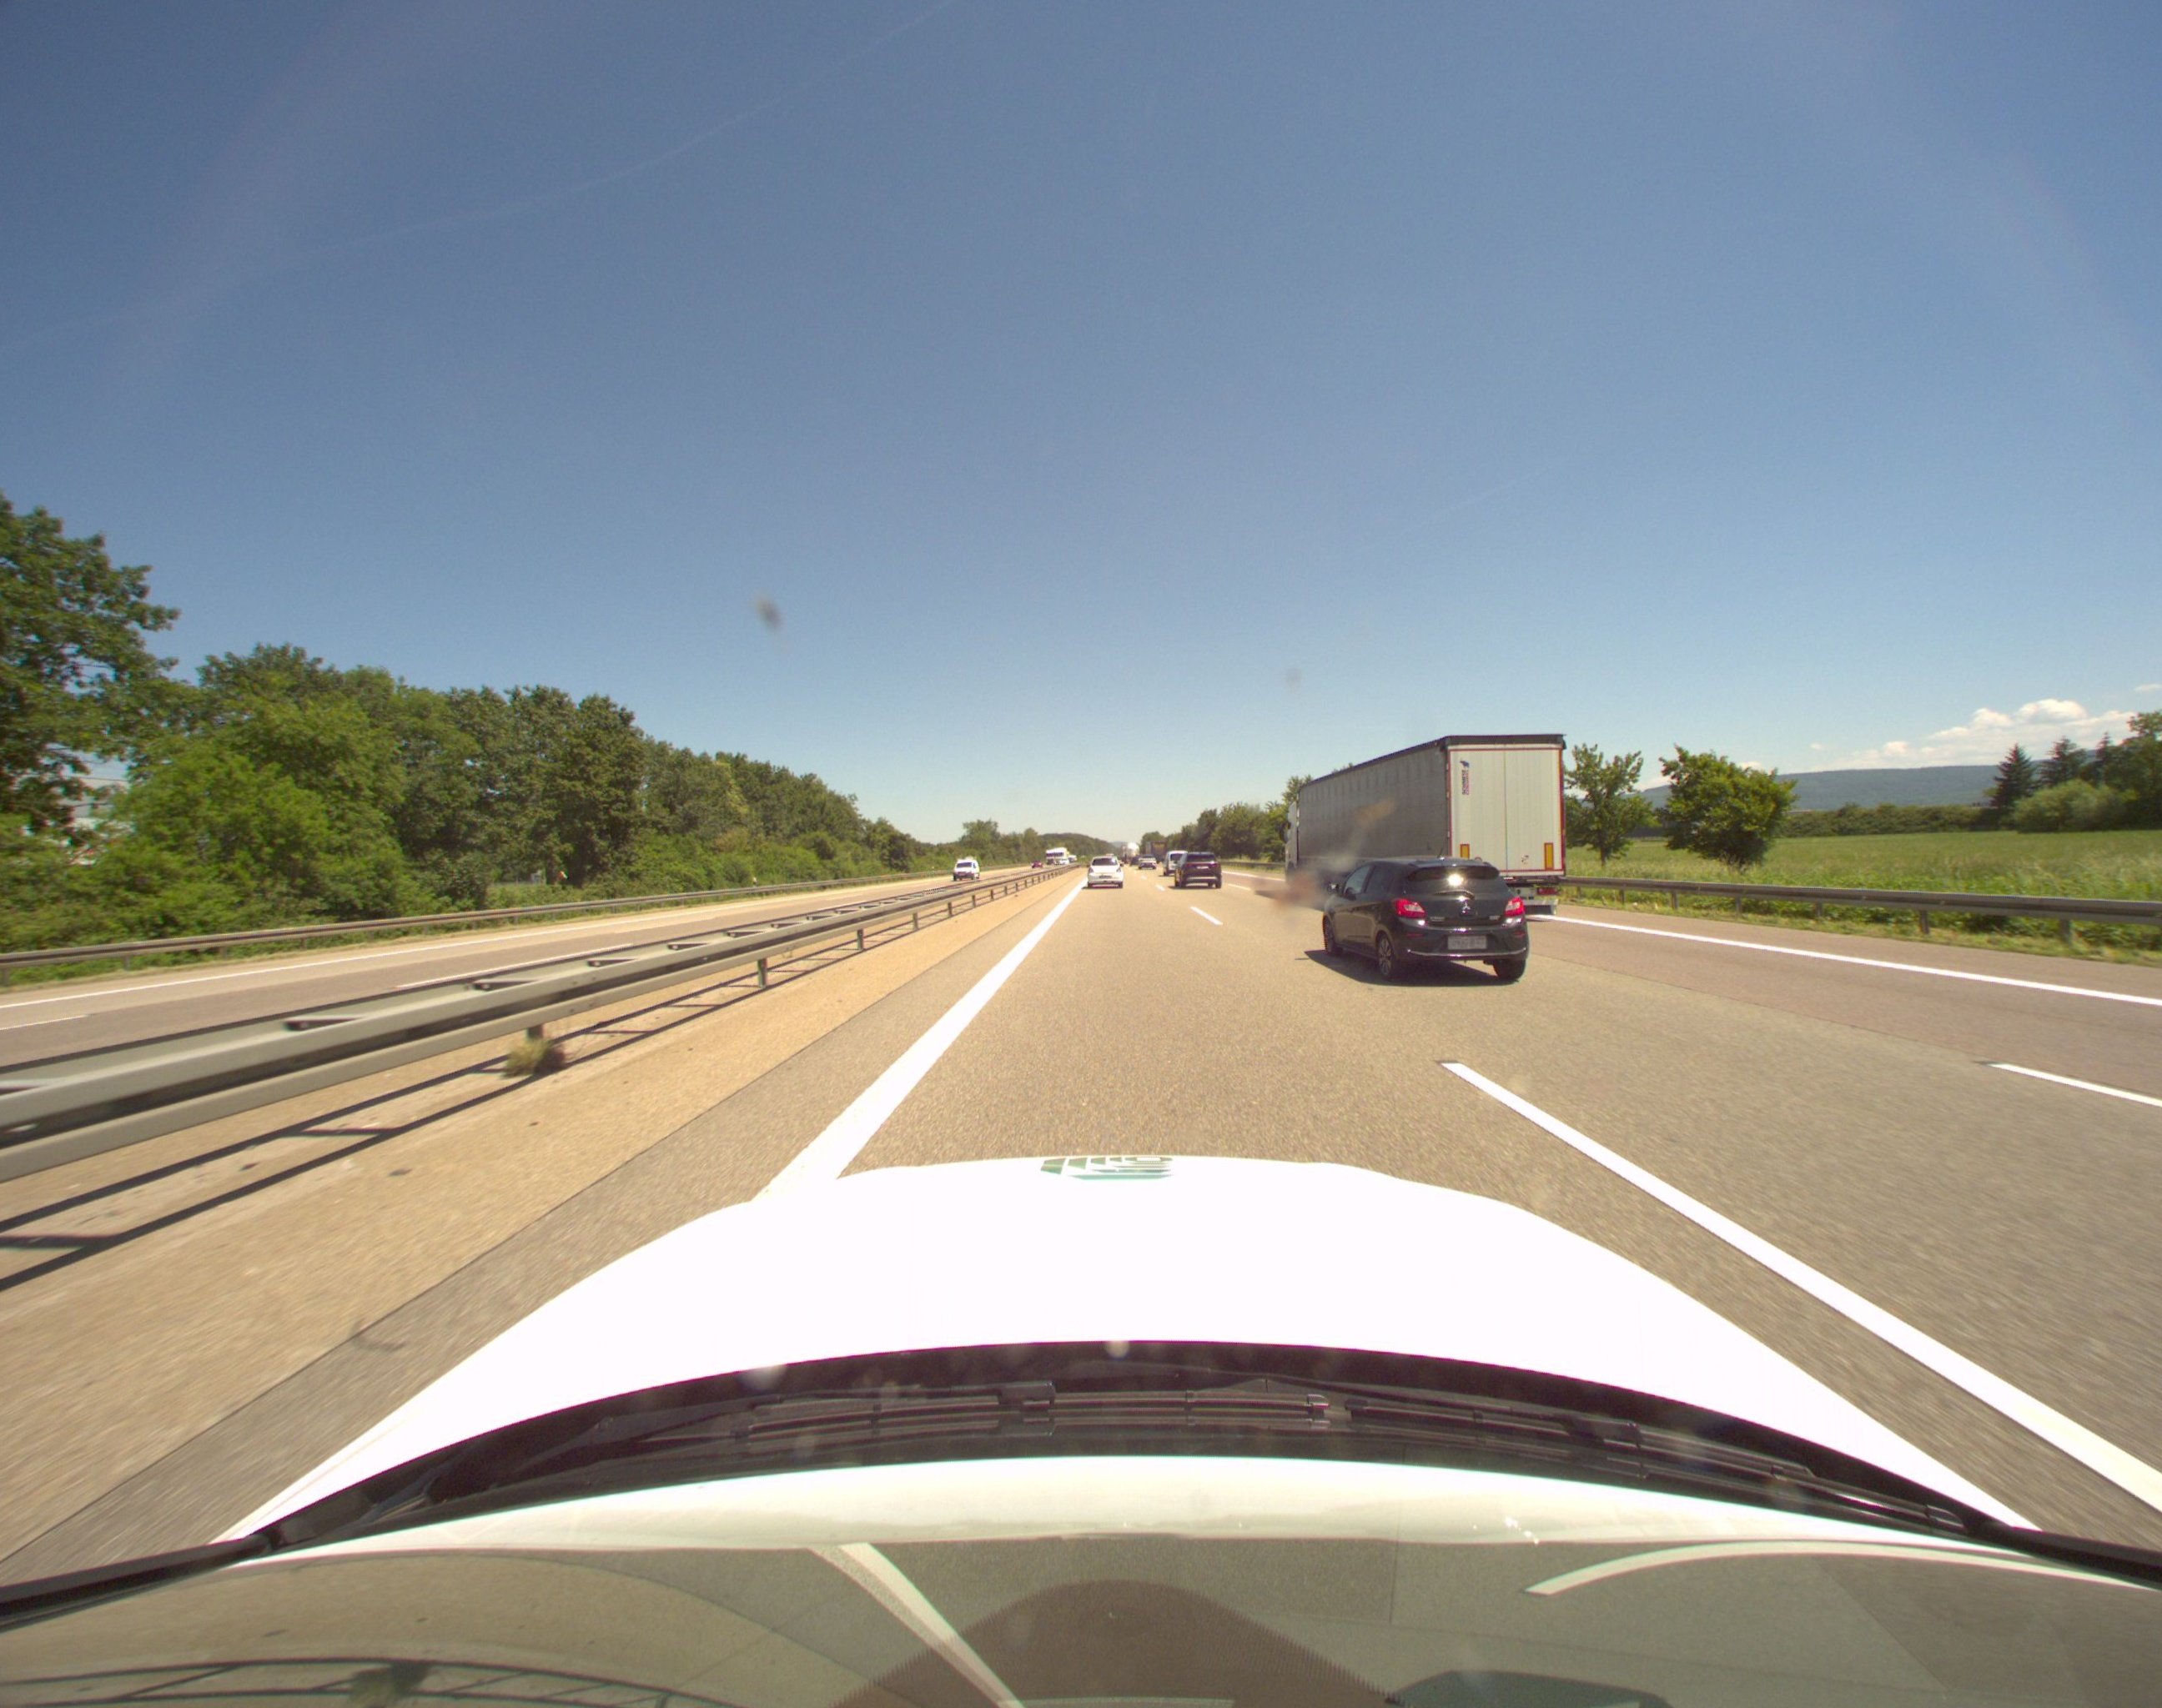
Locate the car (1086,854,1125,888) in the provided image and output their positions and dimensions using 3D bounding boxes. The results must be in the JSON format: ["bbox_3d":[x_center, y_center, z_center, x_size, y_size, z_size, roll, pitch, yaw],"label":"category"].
[{"bbox_3d":[1.207,0.785,39.613,1.792,1.552,3.611,-1,0,1],"label":"car"}]

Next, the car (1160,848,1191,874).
[{"bbox_3d":[6.935,0.522,60.379,1.846,1.863,4.703,-1,0,1],"label":"car"}]

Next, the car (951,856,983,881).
[{"bbox_3d":[-9.947,1.238,71.464,1.781,2.013,4.383,-4,-1,3],"label":"car"}]

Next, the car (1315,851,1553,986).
[{"bbox_3d":[4.401,0.722,10.733,1.681,1.473,3.433,-1,0,1],"label":"car"}]

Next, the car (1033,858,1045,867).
[{"bbox_3d":[-7.407,1.413,143.155,1.766,1.417,4.111,-4,0,1],"label":"car"}]

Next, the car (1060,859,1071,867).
[{"bbox_3d":[-2.976,1.648,155.522,1.713,1.422,3.898,-4,-1,1],"label":"car"}]

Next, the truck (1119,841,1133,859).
[{"bbox_3d":[10.846,-0.949,195.615,3.380,4.214,12.092,-1,0,3],"label":"truck"}]

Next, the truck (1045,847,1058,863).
[{"bbox_3d":[-8.030,0.381,221.249,2.746,4.103,6.156,-4,-1,3],"label":"truck"}]

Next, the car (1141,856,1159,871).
[{"bbox_3d":[7.563,1.028,89.827,1.795,1.603,4.383,-1,0,2],"label":"car"}]

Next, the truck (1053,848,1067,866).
[{"bbox_3d":[-5.070,0.723,197.780,2.728,4.085,6.222,-4,0,3],"label":"truck"}]

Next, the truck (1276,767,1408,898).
[{"bbox_3d":[9.519,-0.700,30.637,2.799,4.304,7.195,-1,0,1],"label":"truck"}]

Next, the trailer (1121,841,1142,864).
[{"bbox_3d":[9.360,-0.292,152.886,2.903,4.069,12.412,-1,0,-1],"label":"trailer"}]

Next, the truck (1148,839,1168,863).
[{"bbox_3d":[14.208,-0.509,151.519,3.096,4.139,15.523,-1,0,3],"label":"truck"}]

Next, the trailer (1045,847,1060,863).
[{"bbox_3d":[-7.765,0.409,227.213,2.746,4.103,14.062,-4,0,3],"label":"trailer"}]

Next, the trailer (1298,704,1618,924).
[{"bbox_3d":[9.284,-0.743,23.086,2.799,4.304,14.258,-1,0,2],"label":"trailer"}]

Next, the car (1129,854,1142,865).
[{"bbox_3d":[7.838,0.838,117.770,1.843,1.523,3.959,-1,0,2],"label":"car"}]

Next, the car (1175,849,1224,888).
[{"bbox_3d":[5.484,0.653,38.241,1.859,1.675,4.749,-1,0,3],"label":"car"}]
